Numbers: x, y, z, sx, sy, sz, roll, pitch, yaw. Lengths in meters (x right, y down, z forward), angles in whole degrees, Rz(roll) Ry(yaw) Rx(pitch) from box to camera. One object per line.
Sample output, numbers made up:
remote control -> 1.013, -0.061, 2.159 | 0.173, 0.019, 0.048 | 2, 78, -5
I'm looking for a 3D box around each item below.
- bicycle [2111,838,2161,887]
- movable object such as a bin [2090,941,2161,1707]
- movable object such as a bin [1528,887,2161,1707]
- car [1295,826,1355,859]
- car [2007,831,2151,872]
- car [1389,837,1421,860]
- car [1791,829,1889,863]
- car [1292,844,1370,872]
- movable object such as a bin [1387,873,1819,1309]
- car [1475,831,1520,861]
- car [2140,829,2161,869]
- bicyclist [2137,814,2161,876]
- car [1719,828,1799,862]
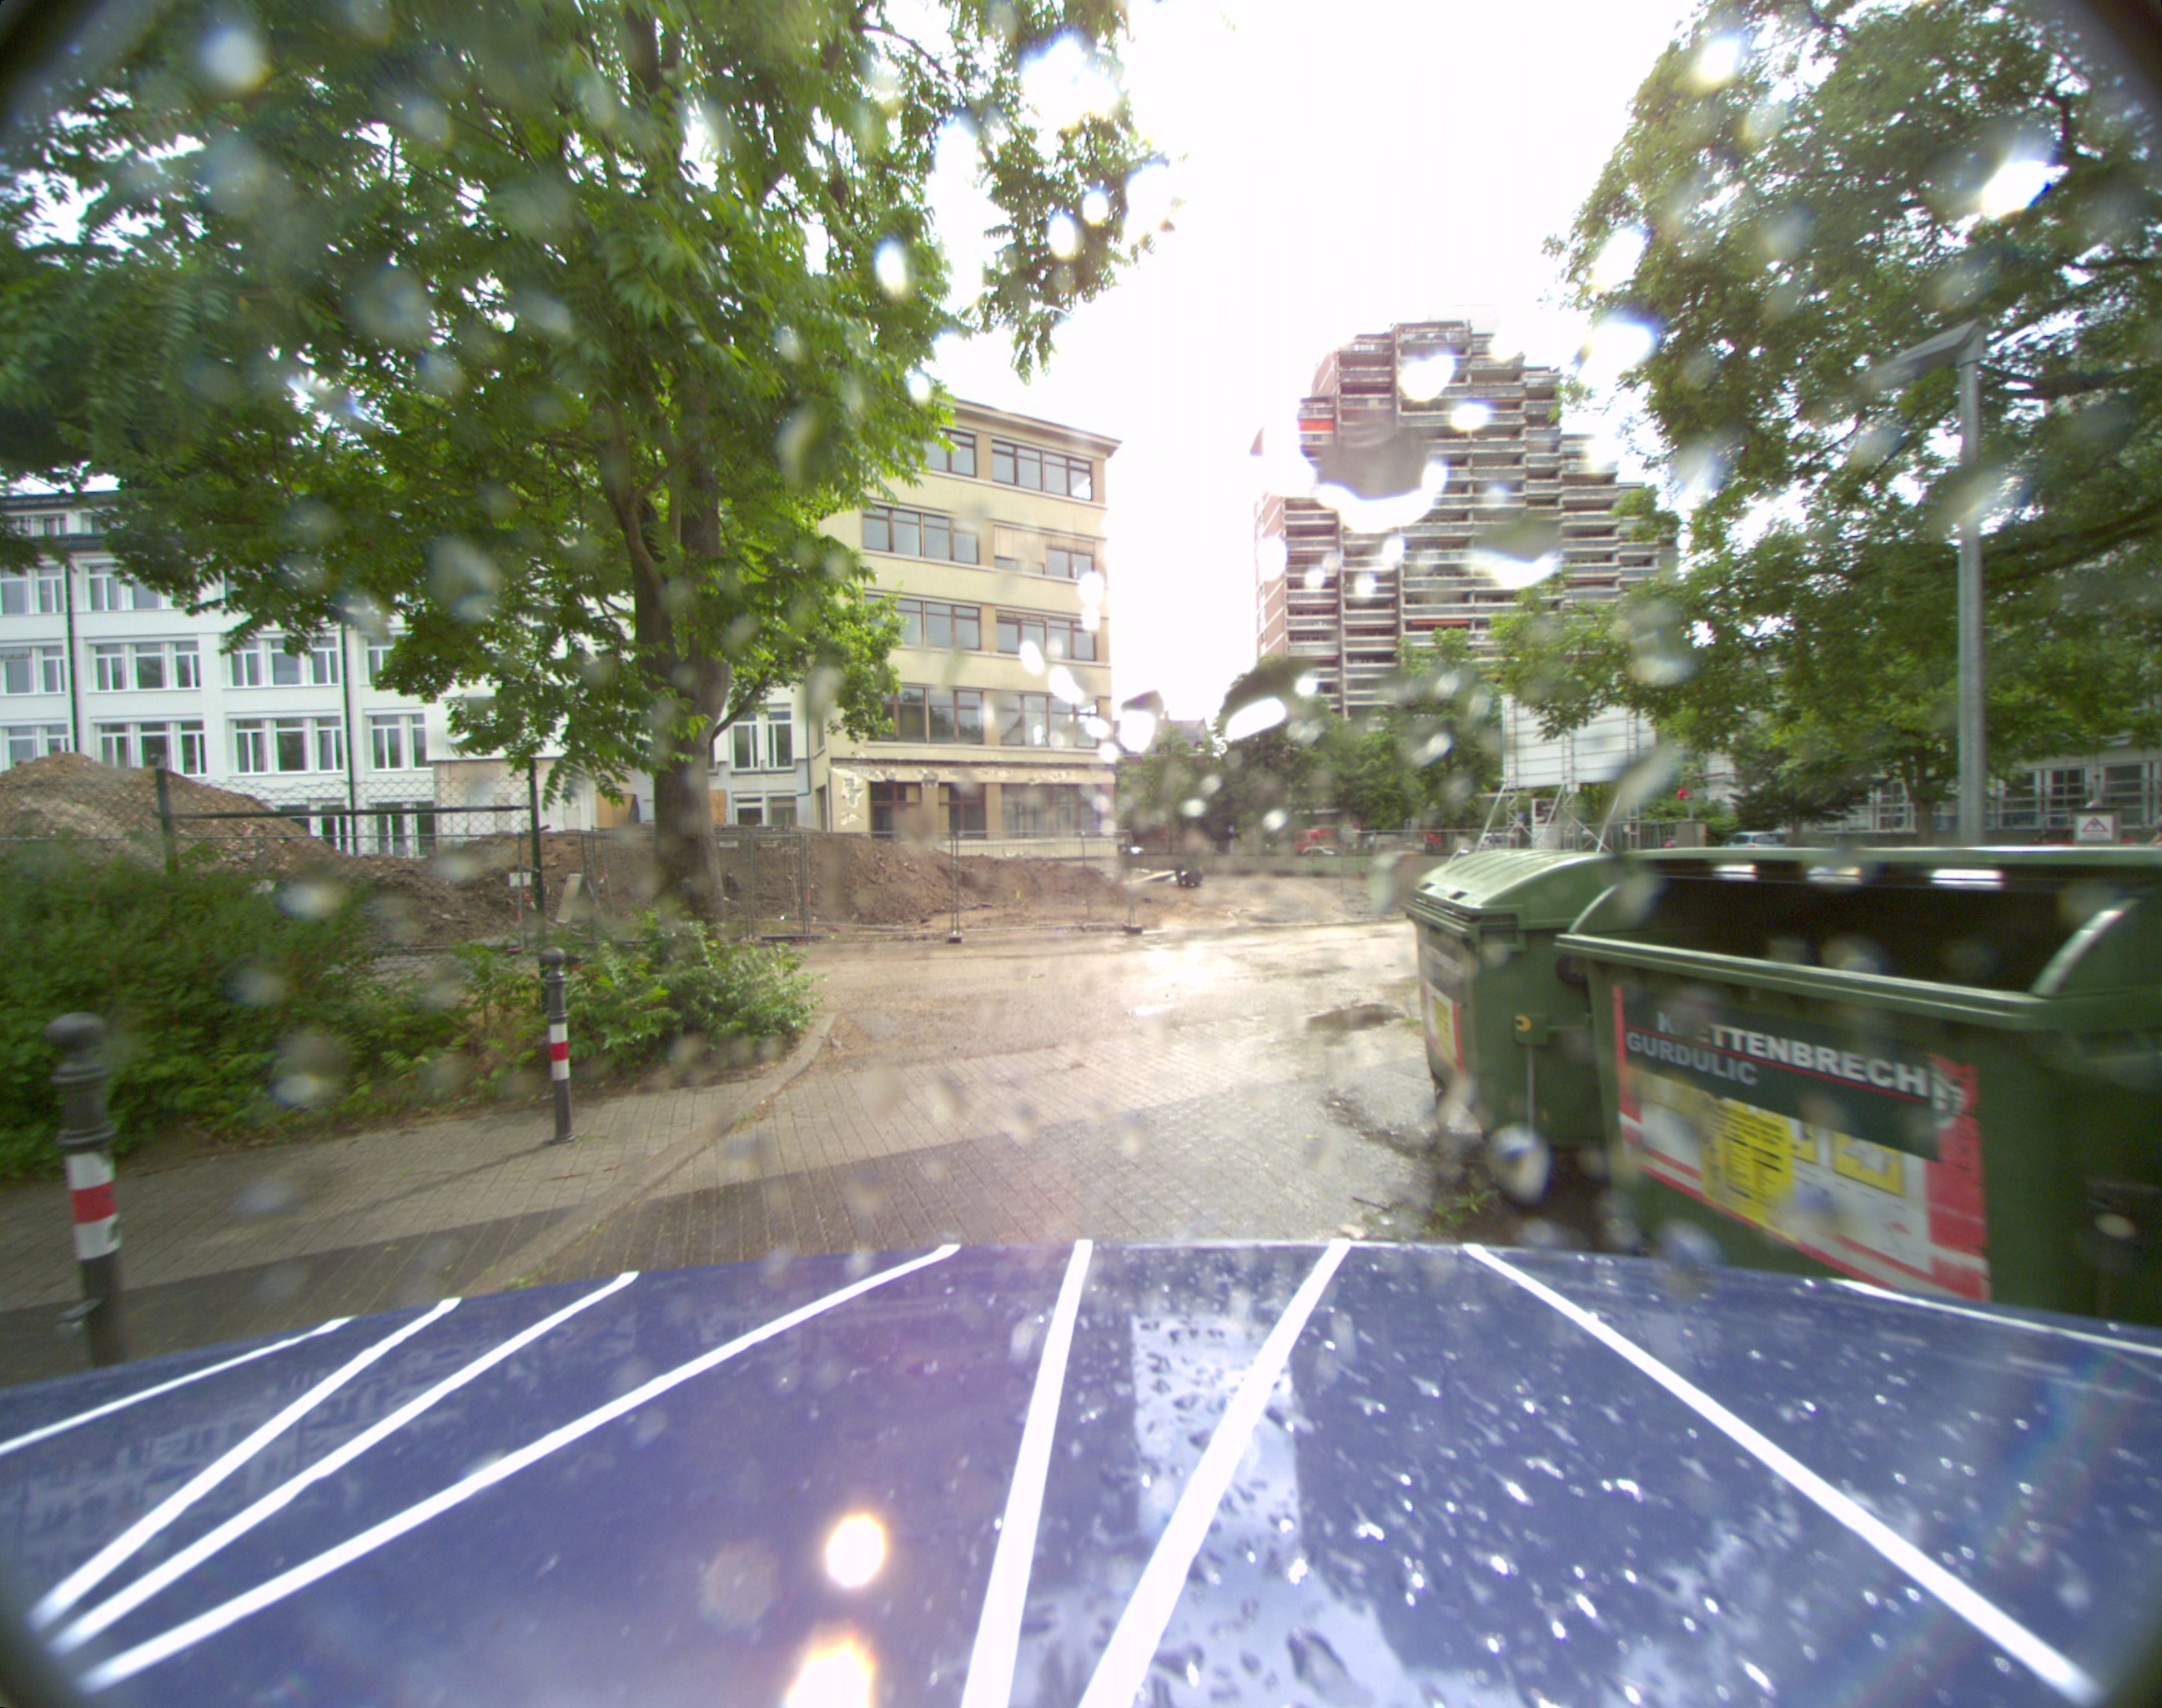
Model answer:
bicycle -> 28.515, 0.221, 19.815 | 1.863, 1.258, 0.647 | -1, 0, 31
movable object such as a bin -> 2.179, 0.858, 0.502 | 1.167, 1.474, 1.402 | -2, 1, -4
movable object such as a bin -> 2.181, 0.862, 1.922 | 1.168, 1.474, 1.402 | -2, 0, -6
car -> 20.201, -1.001, 63.261 | 2.303, 2.618, 5.476 | -1, 1, -13
car -> 38.380, -0.133, 29.353 | 1.738, 1.461, 3.412 | 0, 1, 19
car -> 24.384, -0.456, 57.275 | 1.782, 1.557, 4.050 | -1, 2, 18
car -> 34.742, -0.396, 34.896 | 1.738, 1.461, 3.654 | -1, 1, 19
car -> 13.878, 0.238, 42.385 | 1.893, 1.462, 3.992 | 0, -1, -26
movable object such as a bin -> 2.159, 0.870, 3.478 | 1.103, 1.465, 1.486 | -2, 1, 11
car -> 27.486, -0.554, 50.237 | 1.934, 1.886, 4.651 | 0, 1, 20
car -> 39.427, -0.159, 26.271 | 1.707, 1.444, 3.412 | -1, 1, 22
bicyclist -> 28.390, -0.236, 19.890 | 0.672, 1.608, 0.647 | 0, 0, 31
car -> 33.497, -0.459, 37.656 | 1.705, 1.542, 3.654 | -1, 1, 20
